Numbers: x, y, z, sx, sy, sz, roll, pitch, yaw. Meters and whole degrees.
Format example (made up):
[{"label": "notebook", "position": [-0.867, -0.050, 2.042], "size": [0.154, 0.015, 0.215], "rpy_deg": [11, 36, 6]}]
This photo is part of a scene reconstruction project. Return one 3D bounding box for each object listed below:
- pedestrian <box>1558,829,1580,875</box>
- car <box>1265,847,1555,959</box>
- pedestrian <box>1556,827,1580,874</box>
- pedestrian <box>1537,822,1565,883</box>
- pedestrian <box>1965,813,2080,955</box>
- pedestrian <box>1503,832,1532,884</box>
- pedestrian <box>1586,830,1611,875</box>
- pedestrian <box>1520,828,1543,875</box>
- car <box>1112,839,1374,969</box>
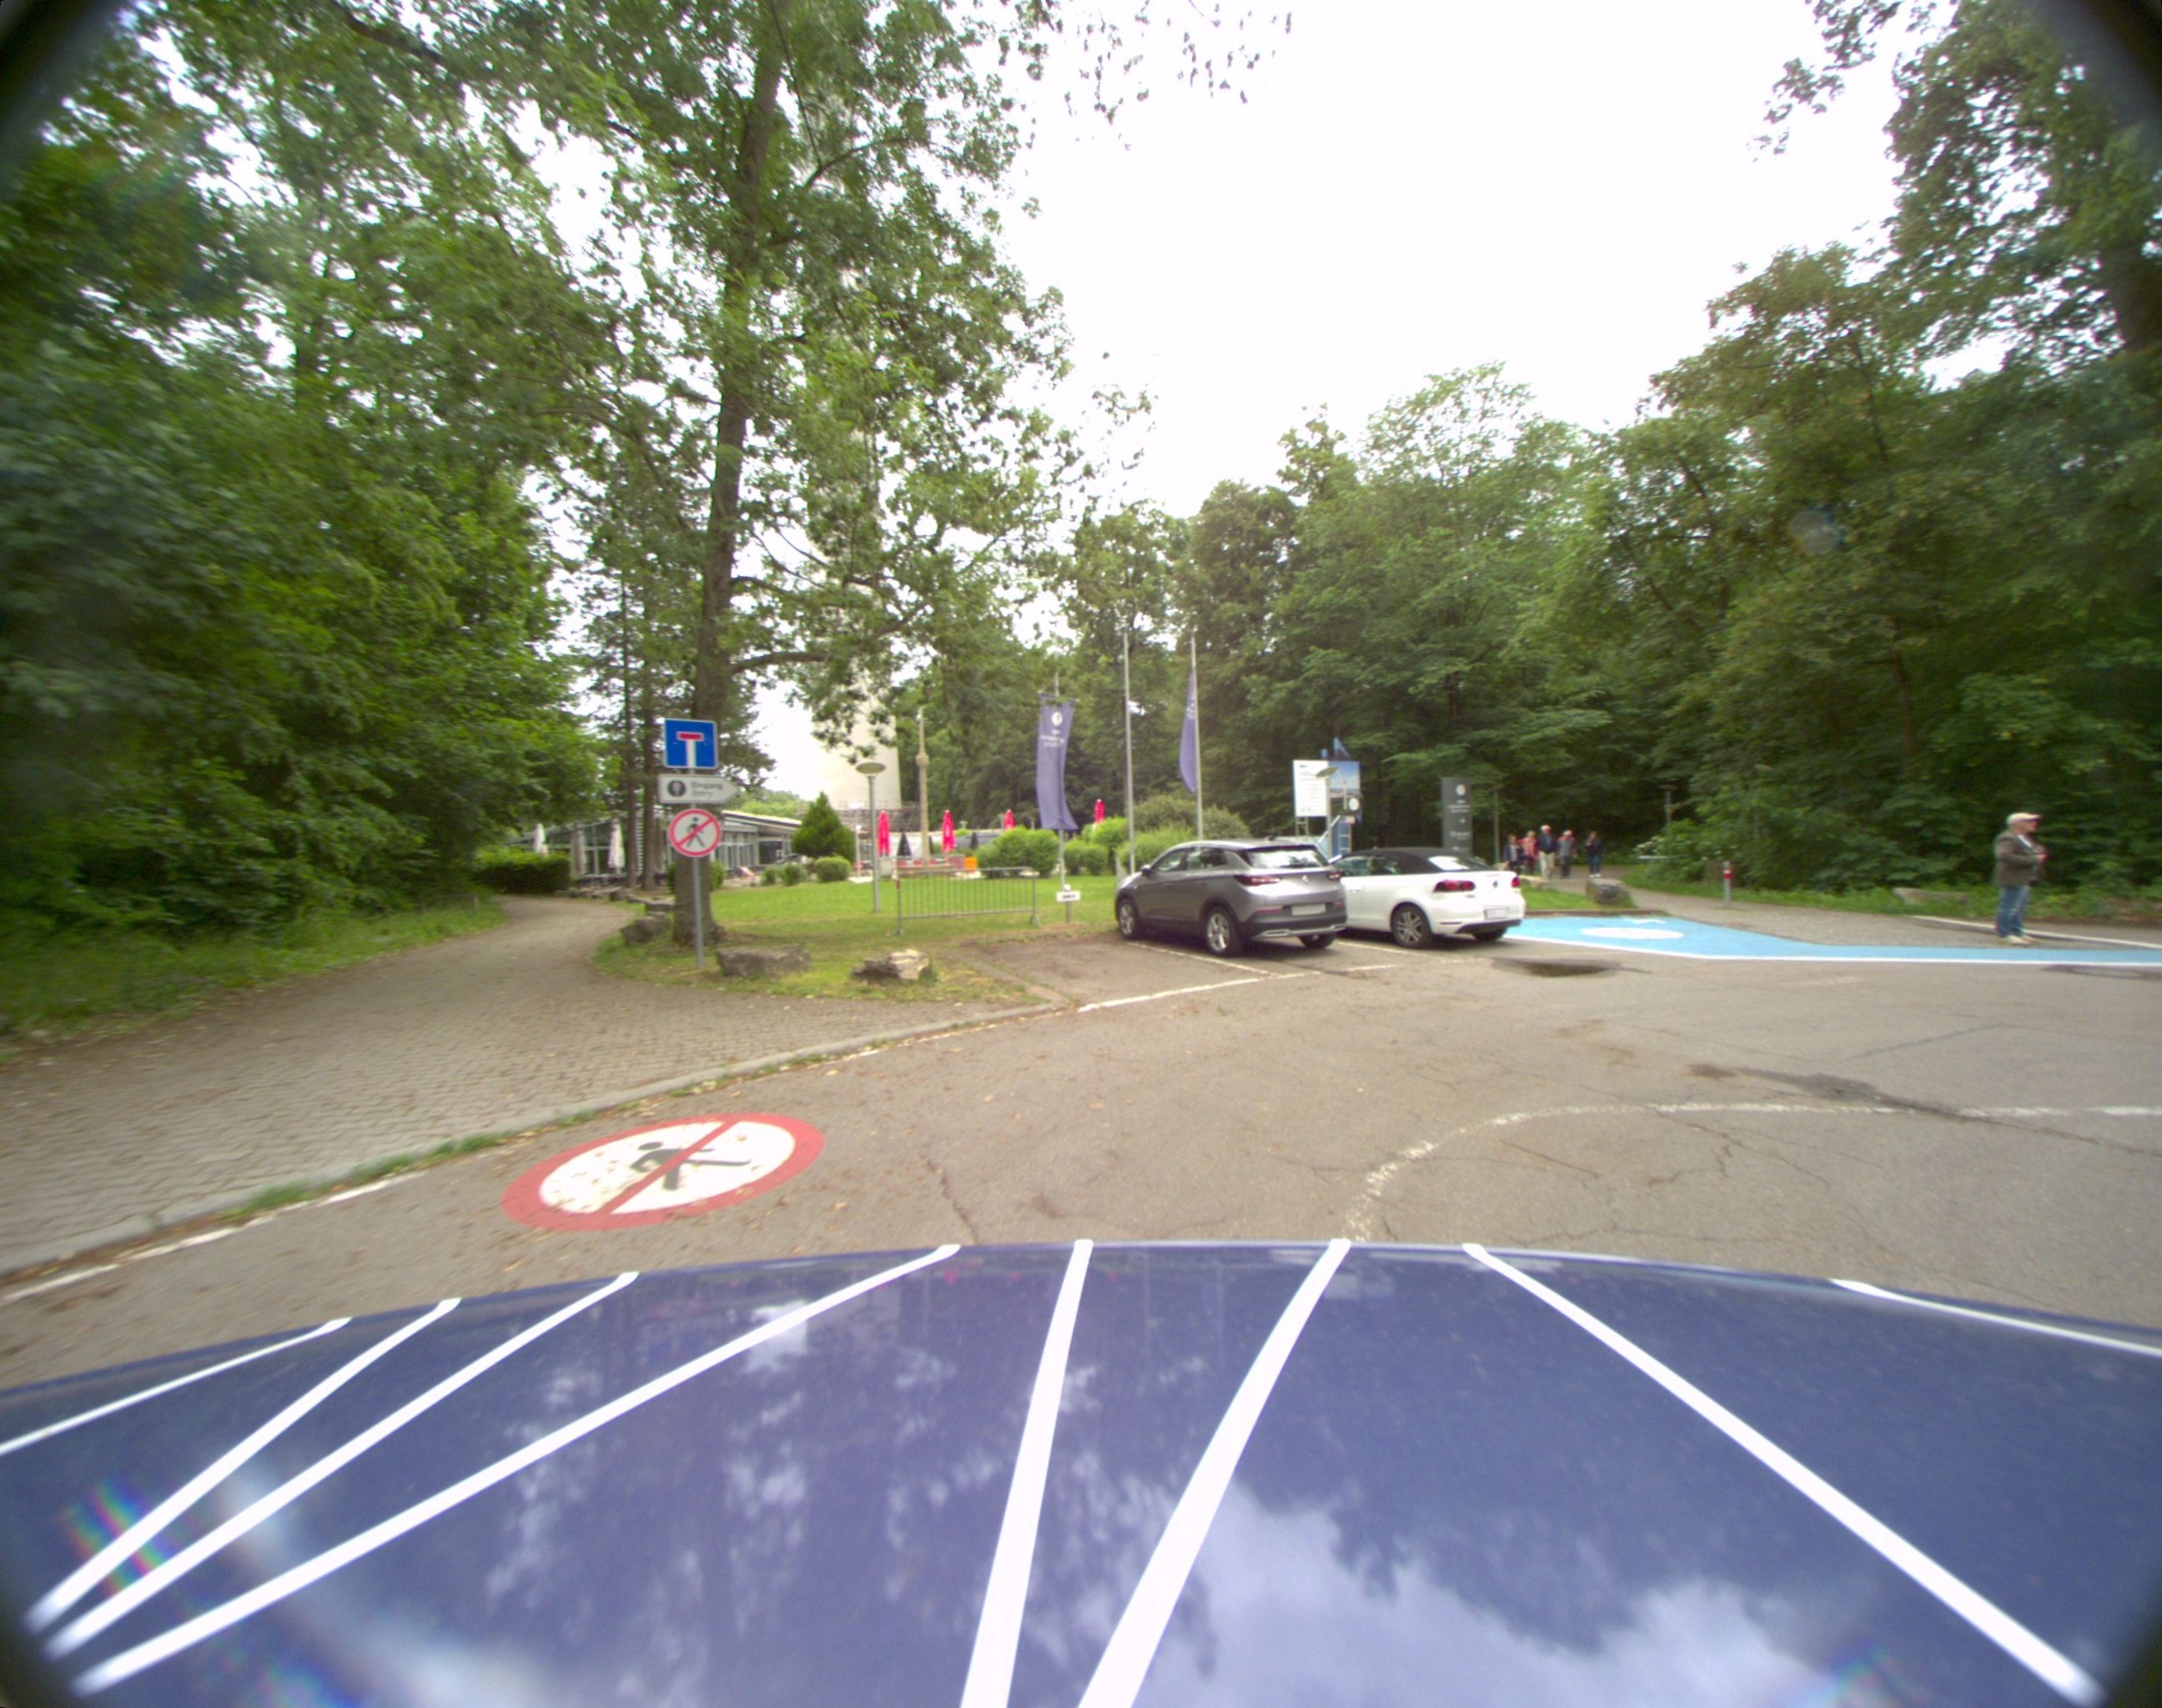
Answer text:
[{"label": "pedestrian", "position": [17.830, -0.070, 27.774], "size": [0.607, 1.664, 0.606], "rpy_deg": [-1, 2, 25]}, {"label": "car", "position": [4.958, 0.619, 12.072], "size": [1.901, 1.420, 3.991], "rpy_deg": [-2, 1, -24]}, {"label": "pedestrian", "position": [18.596, -0.130, 29.005], "size": [0.680, 1.758, 0.715], "rpy_deg": [-1, 2, 25]}, {"label": "pedestrian", "position": [15.017, -0.057, 24.291], "size": [0.732, 1.905, 0.669], "rpy_deg": [-1, 2, 30]}, {"label": "pedestrian", "position": [12.133, 0.356, 9.797], "size": [0.765, 1.715, 0.894], "rpy_deg": [-2, 2, -37]}, {"label": "pedestrian", "position": [13.846, 0.127, 24.107], "size": [0.776, 1.625, 0.638], "rpy_deg": [-1, 2, 30]}, {"label": "pedestrian", "position": [19.172, -0.061, 28.163], "size": [0.680, 1.664, 0.663], "rpy_deg": [-1, 2, 25]}, {"label": "pedestrian", "position": [16.937, -0.103, 28.556], "size": [0.682, 1.752, 0.606], "rpy_deg": [-1, 2, 25]}, {"label": "car", "position": [2.216, 0.596, 11.559], "size": [1.901, 1.576, 3.992], "rpy_deg": [-2, 1, -24]}]
